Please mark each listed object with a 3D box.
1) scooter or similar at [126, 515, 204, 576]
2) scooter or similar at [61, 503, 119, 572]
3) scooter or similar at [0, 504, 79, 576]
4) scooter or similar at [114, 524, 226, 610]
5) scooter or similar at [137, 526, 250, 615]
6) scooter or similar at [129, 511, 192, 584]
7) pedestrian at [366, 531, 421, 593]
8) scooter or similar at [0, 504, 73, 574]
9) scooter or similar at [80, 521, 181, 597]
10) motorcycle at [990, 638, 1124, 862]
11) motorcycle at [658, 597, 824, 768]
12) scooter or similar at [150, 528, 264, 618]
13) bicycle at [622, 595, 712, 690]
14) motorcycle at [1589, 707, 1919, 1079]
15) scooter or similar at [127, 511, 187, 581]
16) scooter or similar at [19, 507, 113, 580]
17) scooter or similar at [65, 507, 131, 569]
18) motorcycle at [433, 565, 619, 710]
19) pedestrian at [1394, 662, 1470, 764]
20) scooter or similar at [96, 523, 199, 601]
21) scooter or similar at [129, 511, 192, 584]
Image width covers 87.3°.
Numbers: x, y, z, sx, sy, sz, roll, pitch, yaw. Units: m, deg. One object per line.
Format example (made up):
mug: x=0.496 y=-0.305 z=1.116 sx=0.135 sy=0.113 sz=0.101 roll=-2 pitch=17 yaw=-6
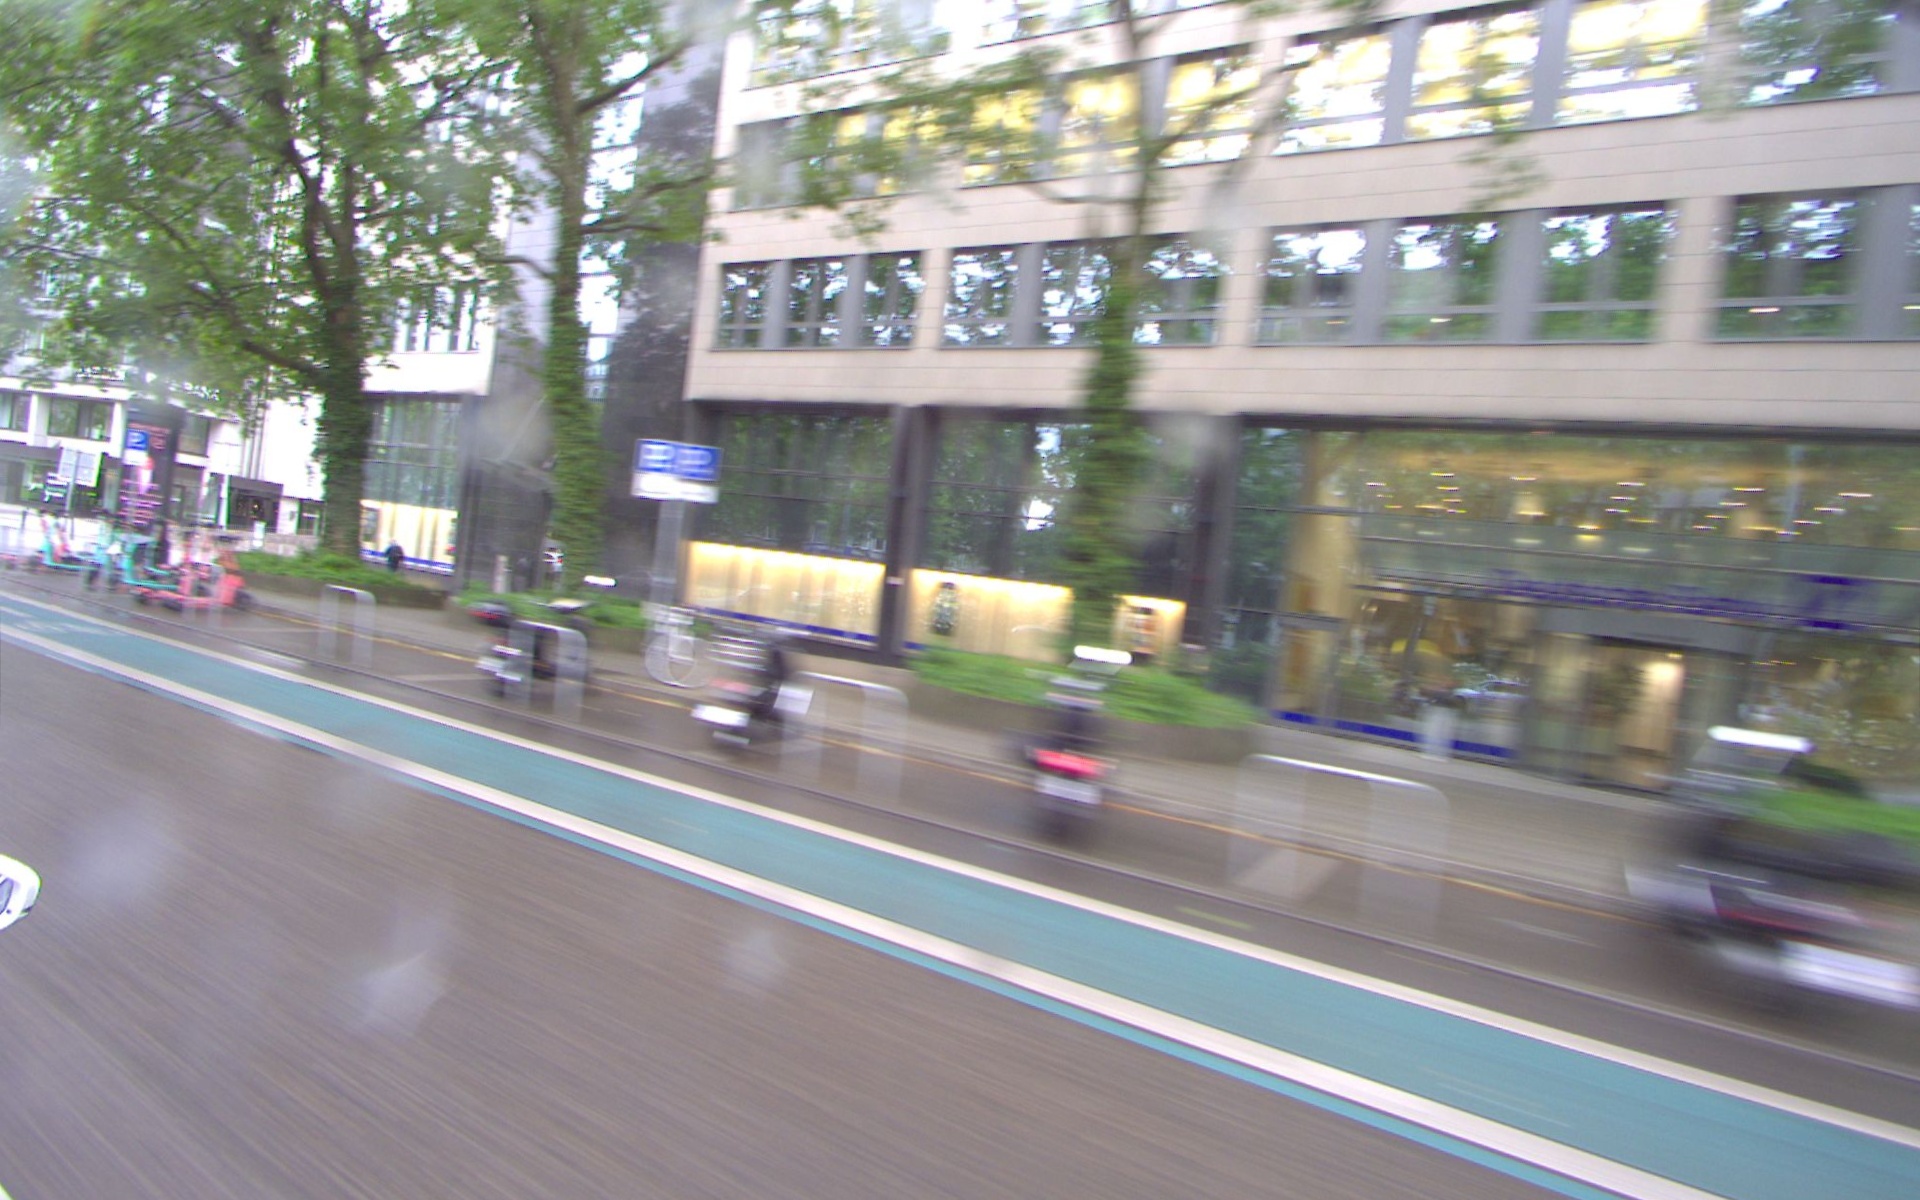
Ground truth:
scooter or similar: x=-18.142 y=-1.233 z=22.978 sx=1.269 sy=1.212 sz=0.489 roll=7 pitch=0 yaw=0
scooter or similar: x=-18.418 y=-1.330 z=21.302 sx=1.272 sy=1.276 sz=0.488 roll=9 pitch=3 yaw=31
scooter or similar: x=-18.477 y=-1.196 z=20.036 sx=0.482 sy=1.276 sz=1.286 roll=10 pitch=2 yaw=43
scooter or similar: x=-13.174 y=-0.531 z=16.814 sx=0.527 sy=1.295 sz=1.293 roll=9 pitch=2 yaw=21
scooter or similar: x=-12.566 y=-0.464 z=16.526 sx=0.528 sy=1.295 sz=1.289 roll=9 pitch=2 yaw=35
scooter or similar: x=-15.871 y=-1.054 z=19.960 sx=1.272 sy=1.276 sz=0.488 roll=9 pitch=3 yaw=31
pedestrian: x=-18.780 y=-1.271 z=33.360 sx=1.256 sy=1.872 sz=0.919 roll=6 pitch=-1 yaw=32
scooter or similar: x=-18.948 y=-1.242 z=20.416 sx=0.482 sy=1.276 sz=1.286 roll=10 pitch=2 yaw=43
scooter or similar: x=-15.363 y=-0.743 z=18.656 sx=0.481 sy=1.252 sz=1.290 roll=9 pitch=2 yaw=33
motorcycle: x=0.827 y=1.074 z=7.943 sx=0.715 sy=1.391 sz=1.961 roll=8 pitch=1 yaw=10
motorcycle: x=-2.043 y=0.719 z=9.708 sx=0.715 sy=1.391 sz=1.961 roll=8 pitch=1 yaw=10
scooter or similar: x=-12.187 y=-0.424 z=16.312 sx=0.528 sy=1.295 sz=1.289 roll=9 pitch=2 yaw=35
bicycle: x=-3.856 y=0.525 z=13.159 sx=0.632 sy=1.040 sz=1.750 roll=7 pitch=-1 yaw=-30
motorcycle: x=4.504 y=1.479 z=5.682 sx=0.715 sy=1.447 sz=2.060 roll=8 pitch=1 yaw=10
scooter or similar: x=-16.704 y=-1.125 z=20.917 sx=1.272 sy=1.276 sz=0.488 roll=9 pitch=3 yaw=31
scooter or similar: x=-17.841 y=-1.113 z=20.084 sx=0.482 sy=1.276 sz=1.286 roll=10 pitch=2 yaw=43
scooter or similar: x=-18.926 y=-1.366 z=22.089 sx=1.270 sy=1.212 sz=0.489 roll=6 pitch=0 yaw=22
motorcycle: x=-4.804 y=0.402 z=11.300 sx=0.715 sy=1.391 sz=1.961 roll=8 pitch=2 yaw=15
pedestrian: x=8.661 y=2.058 z=18.485 sx=0.718 sy=1.714 sz=0.825 roll=7 pitch=1 yaw=-16
scooter or similar: x=-14.741 y=-0.678 z=18.276 sx=0.481 sy=1.252 sz=1.290 roll=9 pitch=2 yaw=33
scooter or similar: x=-15.871 y=-1.054 z=19.960 sx=1.272 sy=1.276 sz=0.488 roll=9 pitch=3 yaw=31
